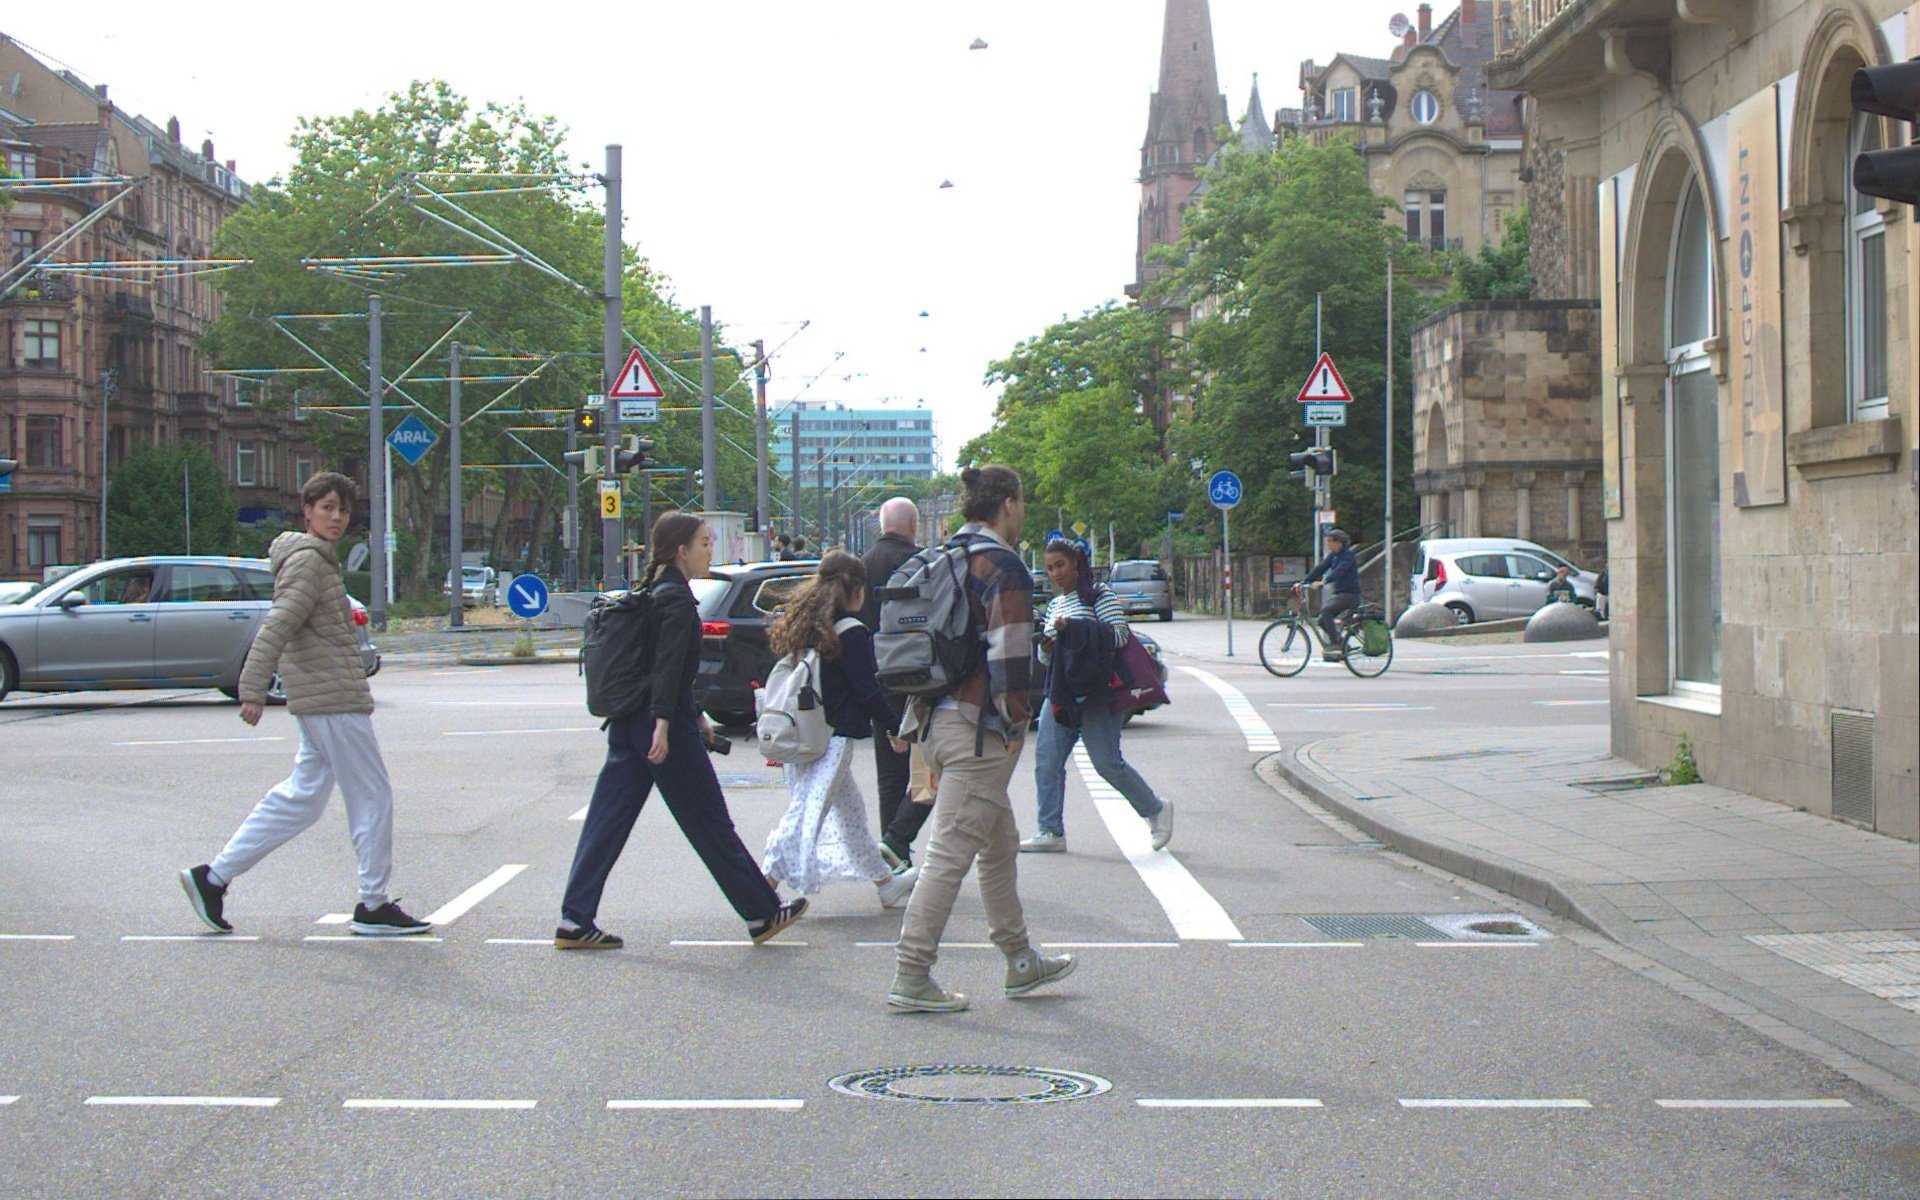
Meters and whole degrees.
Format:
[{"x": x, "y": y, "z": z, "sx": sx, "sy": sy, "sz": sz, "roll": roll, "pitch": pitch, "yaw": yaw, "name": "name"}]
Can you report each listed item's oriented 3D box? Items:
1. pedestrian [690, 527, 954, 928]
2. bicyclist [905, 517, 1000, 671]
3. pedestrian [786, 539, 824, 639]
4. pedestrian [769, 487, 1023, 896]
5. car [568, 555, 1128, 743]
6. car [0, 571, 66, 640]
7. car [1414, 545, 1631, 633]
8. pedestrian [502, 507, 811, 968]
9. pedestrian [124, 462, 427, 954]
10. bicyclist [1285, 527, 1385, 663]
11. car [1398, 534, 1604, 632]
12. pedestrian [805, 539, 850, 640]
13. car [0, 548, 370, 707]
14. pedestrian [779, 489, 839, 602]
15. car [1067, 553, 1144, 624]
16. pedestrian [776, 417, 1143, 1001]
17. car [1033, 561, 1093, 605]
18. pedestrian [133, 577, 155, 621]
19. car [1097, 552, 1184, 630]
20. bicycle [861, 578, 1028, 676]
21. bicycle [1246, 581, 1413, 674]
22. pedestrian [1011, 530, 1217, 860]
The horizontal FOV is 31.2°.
[{"x": -0.566, "y": 0.503, "z": 14.199, "sx": 0.702, "sy": 1.587, "sz": 0.829, "roll": 1, "pitch": 0, "yaw": 37, "name": "pedestrian"}, {"x": -0.090, "y": -0.068, "z": 40.785, "sx": 0.965, "sy": 1.813, "sz": 0.532, "roll": 1, "pitch": 0, "yaw": -29, "name": "bicyclist"}, {"x": -2.406, "y": -0.173, "z": 53.353, "sx": 0.545, "sy": 1.532, "sz": 0.466, "roll": 1, "pitch": 0, "yaw": -5, "name": "pedestrian"}, {"x": -0.288, "y": 0.392, "z": 15.463, "sx": 0.917, "sy": 1.778, "sz": 0.646, "roll": 1, "pitch": 0, "yaw": 37, "name": "pedestrian"}, {"x": -0.942, "y": 0.405, "z": 29.519, "sx": 4.431, "sy": 1.505, "sz": 1.838, "roll": 1, "pitch": 0, "yaw": -28, "name": "car"}, {"x": -22.269, "y": 0.097, "z": 80.170, "sx": 1.894, "sy": 1.552, "sz": 3.836, "roll": 1, "pitch": 0, "yaw": -1, "name": "car"}, {"x": 10.736, "y": -0.221, "z": 65.782, "sx": 3.799, "sy": 1.595, "sz": 2.000, "roll": 1, "pitch": 0, "yaw": 0, "name": "car"}, {"x": -1.125, "y": 0.488, "z": 12.851, "sx": 0.627, "sy": 1.647, "sz": 0.994, "roll": 1, "pitch": 0, "yaw": 37, "name": "pedestrian"}, {"x": -2.612, "y": 0.399, "z": 13.102, "sx": 1.011, "sy": 1.807, "sz": 0.585, "roll": 1, "pitch": 0, "yaw": -23, "name": "pedestrian"}, {"x": 4.696, "y": -0.058, "z": 43.091, "sx": 1.038, "sy": 1.678, "sz": 0.645, "roll": 1, "pitch": 0, "yaw": -20, "name": "bicyclist"}, {"x": 10.858, "y": -0.341, "z": 69.193, "sx": 3.799, "sy": 1.897, "sz": 2.000, "roll": 1, "pitch": 0, "yaw": 0, "name": "car"}, {"x": -2.038, "y": -0.166, "z": 52.801, "sx": 0.653, "sy": 1.532, "sz": 0.466, "roll": 1, "pitch": 0, "yaw": -5, "name": "pedestrian"}, {"x": -8.344, "y": 0.262, "z": 33.777, "sx": 4.716, "sy": 1.505, "sz": 1.839, "roll": 1, "pitch": 0, "yaw": -22, "name": "car"}, {"x": -2.229, "y": -0.806, "z": 50.806, "sx": 0.850, "sy": 1.648, "sz": 0.508, "roll": 1, "pitch": 0, "yaw": -2, "name": "pedestrian"}, {"x": 4.238, "y": -0.335, "z": 100.544, "sx": 1.993, "sy": 2.007, "sz": 4.000, "roll": 1, "pitch": 0, "yaw": -1, "name": "car"}, {"x": 0.012, "y": 0.330, "z": 11.090, "sx": 0.627, "sy": 1.772, "sz": 1.131, "roll": 0, "pitch": 0, "yaw": 37, "name": "pedestrian"}, {"x": 3.857, "y": -0.646, "z": 129.357, "sx": 1.993, "sy": 1.602, "sz": 4.164, "roll": -2, "pitch": 0, "yaw": -1, "name": "car"}, {"x": -27.287, "y": -0.043, "z": 114.955, "sx": 0.452, "sy": 1.455, "sz": 0.524, "roll": 1, "pitch": 0, "yaw": 41, "name": "pedestrian"}, {"x": 4.760, "y": -0.251, "z": 91.112, "sx": 1.993, "sy": 2.007, "sz": 4.000, "roll": 1, "pitch": 0, "yaw": -1, "name": "car"}, {"x": -0.181, "y": 0.319, "z": 40.735, "sx": 1.899, "sy": 1.138, "sz": 0.629, "roll": 1, "pitch": 0, "yaw": -29, "name": "bicycle"}, {"x": 4.624, "y": 0.344, "z": 43.034, "sx": 1.937, "sy": 1.132, "sz": 0.736, "roll": 1, "pitch": 0, "yaw": -21, "name": "bicycle"}, {"x": 0.810, "y": 0.481, "z": 18.001, "sx": 0.671, "sy": 1.674, "sz": 0.866, "roll": 1, "pitch": 0, "yaw": 38, "name": "pedestrian"}]
